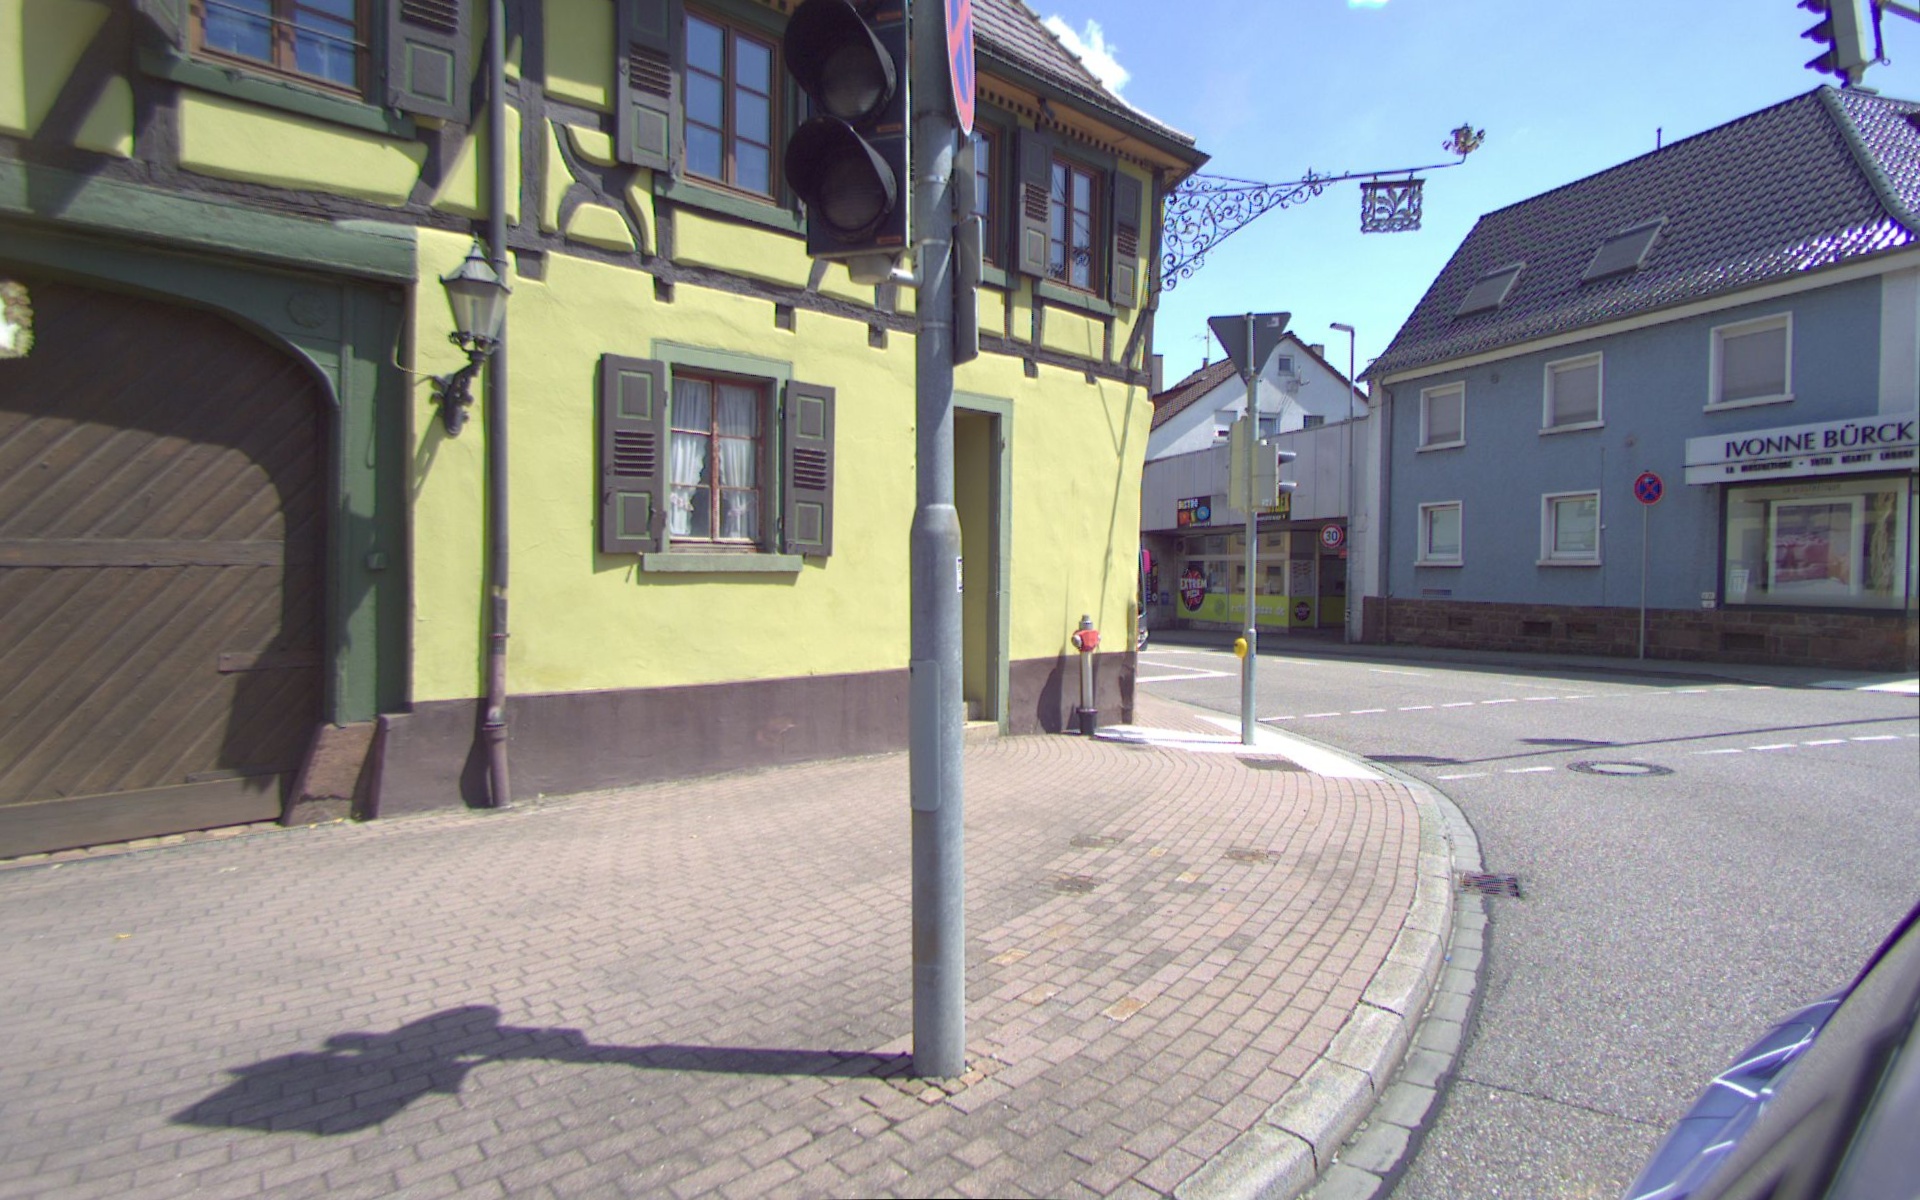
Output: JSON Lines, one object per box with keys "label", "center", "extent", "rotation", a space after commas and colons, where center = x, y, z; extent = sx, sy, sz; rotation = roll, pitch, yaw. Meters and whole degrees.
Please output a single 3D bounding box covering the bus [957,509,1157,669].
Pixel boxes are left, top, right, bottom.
{"label": "bus", "center": [1.946, -0.237, 23.631], "extent": [1.958, 3.061, 7.386], "rotation": [-3, 1, -16]}
